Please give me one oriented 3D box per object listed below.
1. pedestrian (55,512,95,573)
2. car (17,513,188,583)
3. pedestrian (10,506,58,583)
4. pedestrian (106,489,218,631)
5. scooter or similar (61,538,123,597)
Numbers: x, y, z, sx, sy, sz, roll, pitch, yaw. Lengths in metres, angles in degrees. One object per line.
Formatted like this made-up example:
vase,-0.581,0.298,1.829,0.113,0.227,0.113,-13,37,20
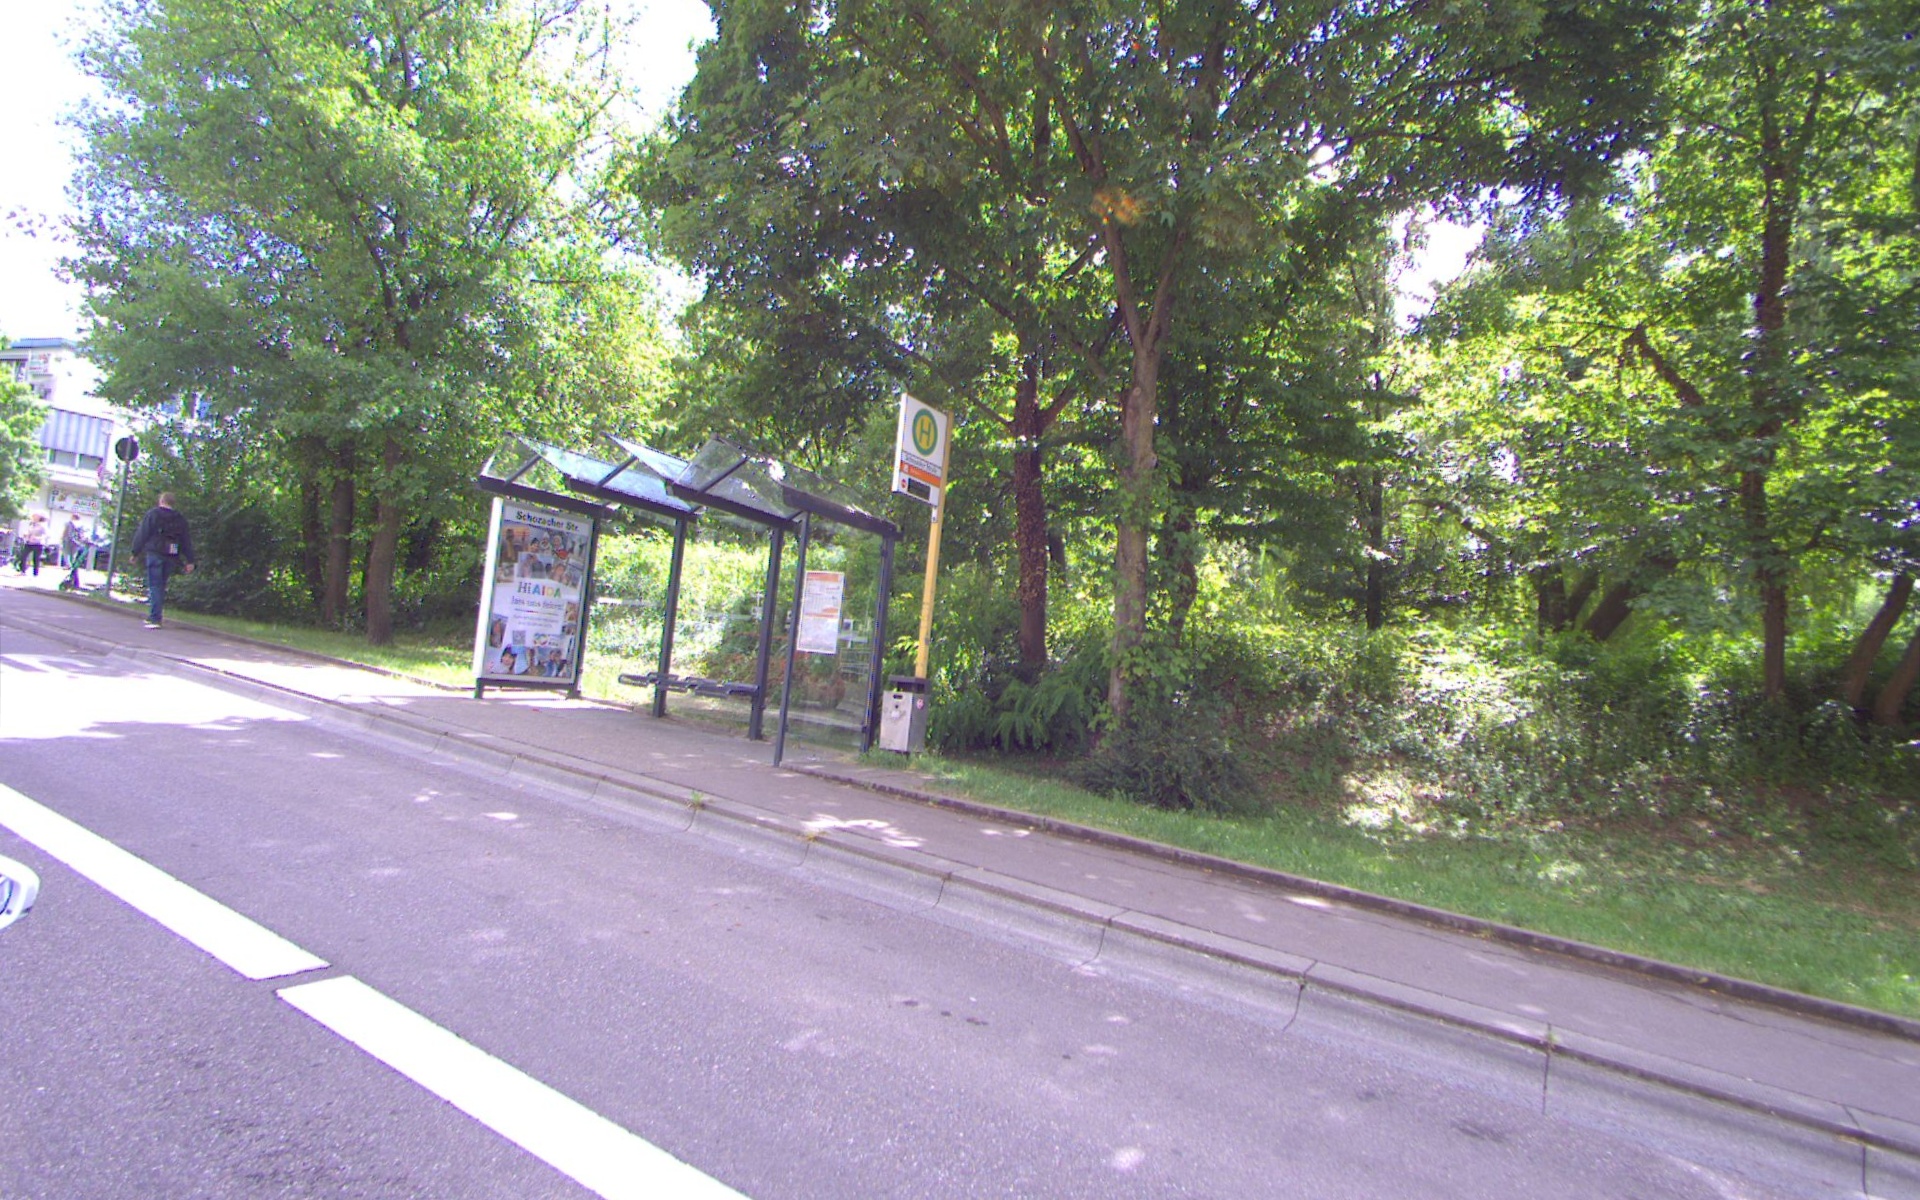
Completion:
pedestrian,-26.494,-1.716,30.120,0.652,1.733,0.458,8,-1,-29
car,-33.289,-1.969,39.225,1.964,2.038,4.549,6,-1,24
pedestrian,-22.792,-1.365,24.759,0.511,1.786,0.635,6,-2,41
pedestrian,-11.542,-0.571,14.559,0.996,1.898,0.797,6,-1,32
scooter or similar,-20.234,-0.744,23.455,0.447,1.245,0.891,6,-2,31
